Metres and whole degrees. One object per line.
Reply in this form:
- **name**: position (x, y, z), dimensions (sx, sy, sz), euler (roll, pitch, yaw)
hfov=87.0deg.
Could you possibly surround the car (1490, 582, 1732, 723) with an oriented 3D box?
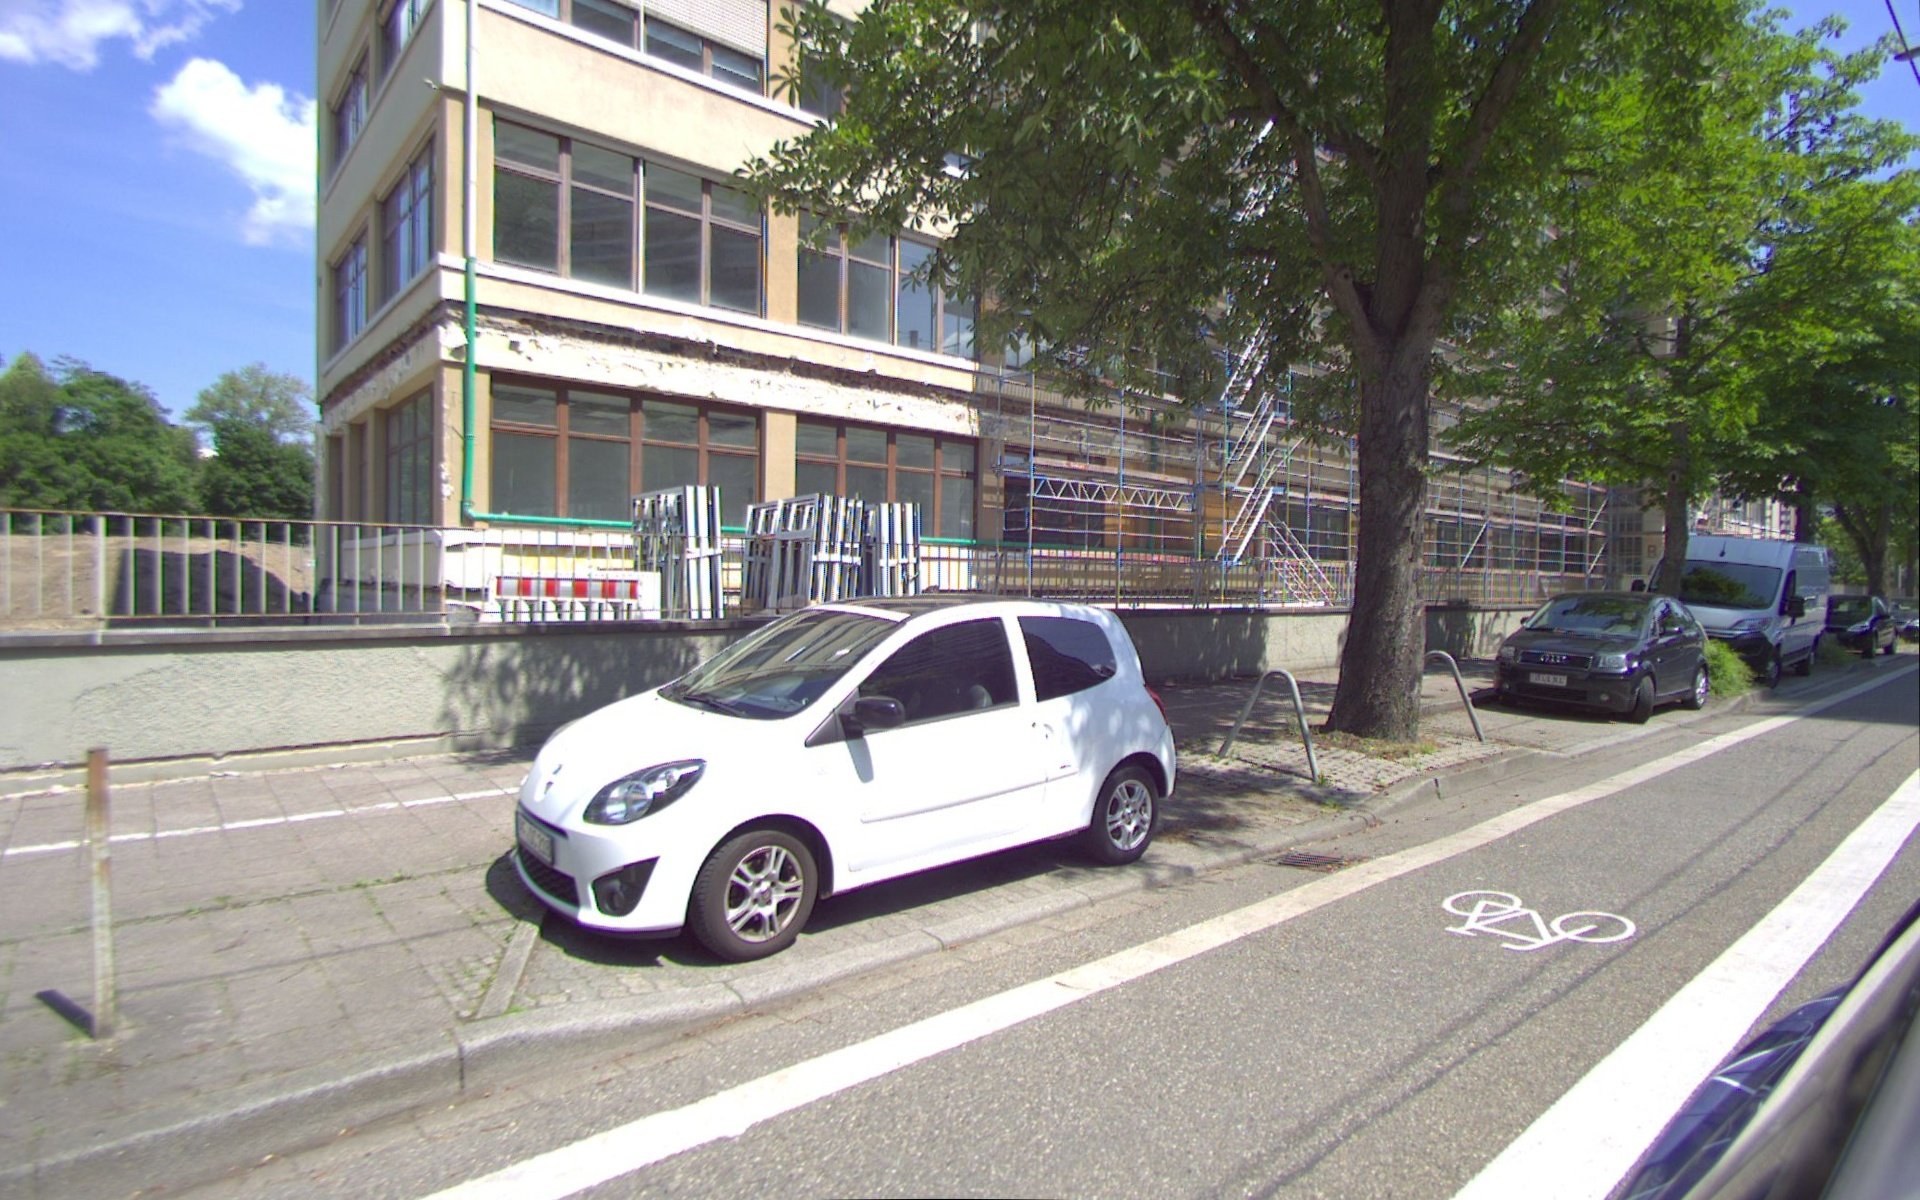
- **car**: position (8.550, 0.577, 13.176), dimensions (3.878, 1.553, 1.647), euler (0, 1, -41)

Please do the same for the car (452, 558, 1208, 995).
- **car**: position (-0.494, 0.611, 5.424), dimensions (3.717, 1.553, 1.648), euler (0, 1, -40)

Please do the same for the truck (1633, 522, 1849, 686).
- **truck**: position (14.202, 0.040, 18.235), dimensions (5.853, 2.520, 2.018), euler (0, 1, -42)

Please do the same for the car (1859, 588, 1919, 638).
- **car**: position (30.109, 0.395, 32.025), dimensions (4.406, 1.490, 1.828), euler (0, 1, -40)

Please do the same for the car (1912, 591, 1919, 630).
- **car**: position (37.739, 0.392, 38.646), dimensions (3.972, 1.456, 1.674), euler (0, 1, -42)

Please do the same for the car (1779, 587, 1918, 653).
- **car**: position (22.018, 0.449, 25.035), dimensions (4.320, 1.490, 1.829), euler (0, 1, -38)
